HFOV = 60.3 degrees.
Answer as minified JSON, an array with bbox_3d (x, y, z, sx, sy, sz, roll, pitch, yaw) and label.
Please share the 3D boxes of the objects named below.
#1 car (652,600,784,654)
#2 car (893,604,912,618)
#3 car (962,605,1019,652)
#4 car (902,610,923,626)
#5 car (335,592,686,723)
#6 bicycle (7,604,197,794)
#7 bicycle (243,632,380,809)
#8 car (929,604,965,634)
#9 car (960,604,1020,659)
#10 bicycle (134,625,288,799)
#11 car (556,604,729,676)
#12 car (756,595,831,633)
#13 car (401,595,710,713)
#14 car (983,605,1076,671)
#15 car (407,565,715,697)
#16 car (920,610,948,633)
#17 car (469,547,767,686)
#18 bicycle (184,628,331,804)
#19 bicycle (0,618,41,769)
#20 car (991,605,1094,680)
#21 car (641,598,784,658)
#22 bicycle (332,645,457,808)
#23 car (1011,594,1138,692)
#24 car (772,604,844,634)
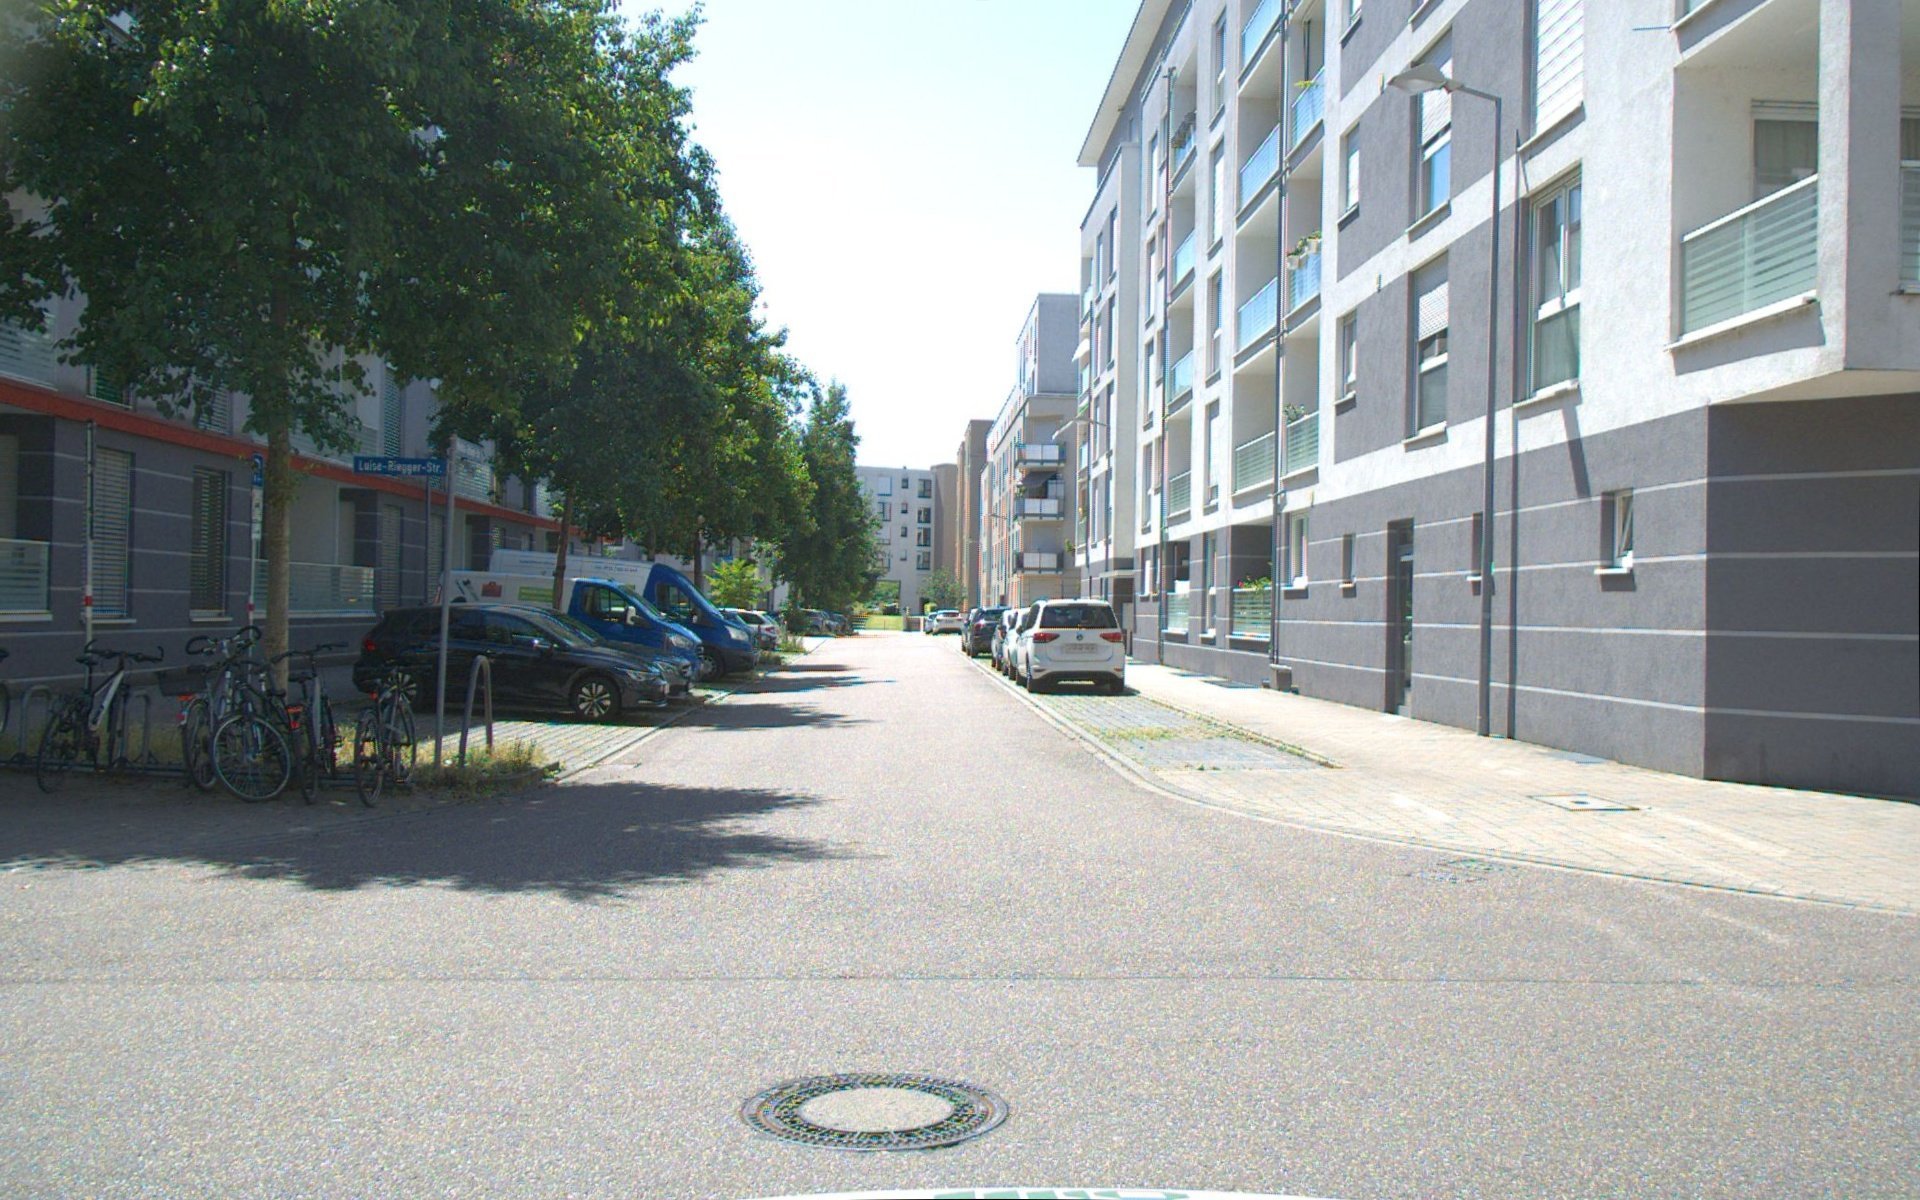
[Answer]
[{"bbox_3d":[-7.686,0.855,52.882,3.905,1.646,2.000,1,0,0],"label":"car"},{"bbox_3d":[-6.371,1.186,182.451,1.954,1.545,3.997,1,0,-3],"label":"car"},{"bbox_3d":[1.117,0.984,58.552,1.847,1.579,4.001,2,0,3],"label":"car"},{"bbox_3d":[-4.604,1.768,161.637,1.953,1.545,4.000,1,0,0],"label":"car"},{"bbox_3d":[-6.157,0.778,23.114,4.295,1.541,2.074,3,0,-2],"label":"car"},{"bbox_3d":[-6.701,0.730,13.017,0.581,1.354,1.811,0,1,-1],"label":"bicycle"},{"bbox_3d":[-5.071,0.907,13.033,0.560,1.194,1.765,4,1,-9],"label":"bicycle"},{"bbox_3d":[-0.819,1.112,99.231,1.954,1.704,3.997,1,0,-3],"label":"car"},{"bbox_3d":[0.929,0.930,50.731,1.721,1.579,4.000,2,0,1],"label":"car"},{"bbox_3d":[-5.959,0.851,13.255,0.508,1.225,1.751,2,1,-4],"label":"bicycle"},{"bbox_3d":[-7.888,0.984,41.393,3.905,1.691,2.000,1,0,0],"label":"car"},{"bbox_3d":[-9.500,0.805,94.463,3.903,2.049,2.001,1,0,4],"label":"car"},{"bbox_3d":[-6.184,0.818,25.665,4.295,1.569,1.877,3,0,-2],"label":"car"},{"bbox_3d":[1.675,0.910,41.178,1.954,1.551,3.997,0,0,-3],"label":"car"},{"bbox_3d":[-7.175,0.543,30.262,5.042,2.156,2.310,2,0,-3],"label":"car"},{"bbox_3d":[-2.001,1.634,126.417,1.954,1.747,3.997,1,0,-3],"label":"car"},{"bbox_3d":[-7.252,0.356,35.694,5.903,2.866,2.604,0,0,-2],"label":"car"},{"bbox_3d":[-5.495,0.869,13.022,0.425,1.225,1.699,2,1,-1],"label":"bicycle"},{"bbox_3d":[-8.069,0.763,12.792,0.675,1.190,2.222,3,1,-2],"label":"bicycle"},{"bbox_3d":[1.744,0.889,36.350,1.953,1.551,3.999,0,0,-2],"label":"car"},{"bbox_3d":[-7.309,0.830,49.160,3.905,1.691,2.000,1,0,0],"label":"car"},{"bbox_3d":[-4.501,0.971,13.276,0.456,1.161,1.924,1,0,-4],"label":"bicycle"},{"bbox_3d":[2.038,0.751,30.660,1.957,1.686,4.113,0,0,-2],"label":"car"},{"bbox_3d":[-8.878,1.104,97.070,3.903,1.631,2.001,1,0,4],"label":"car"}]
